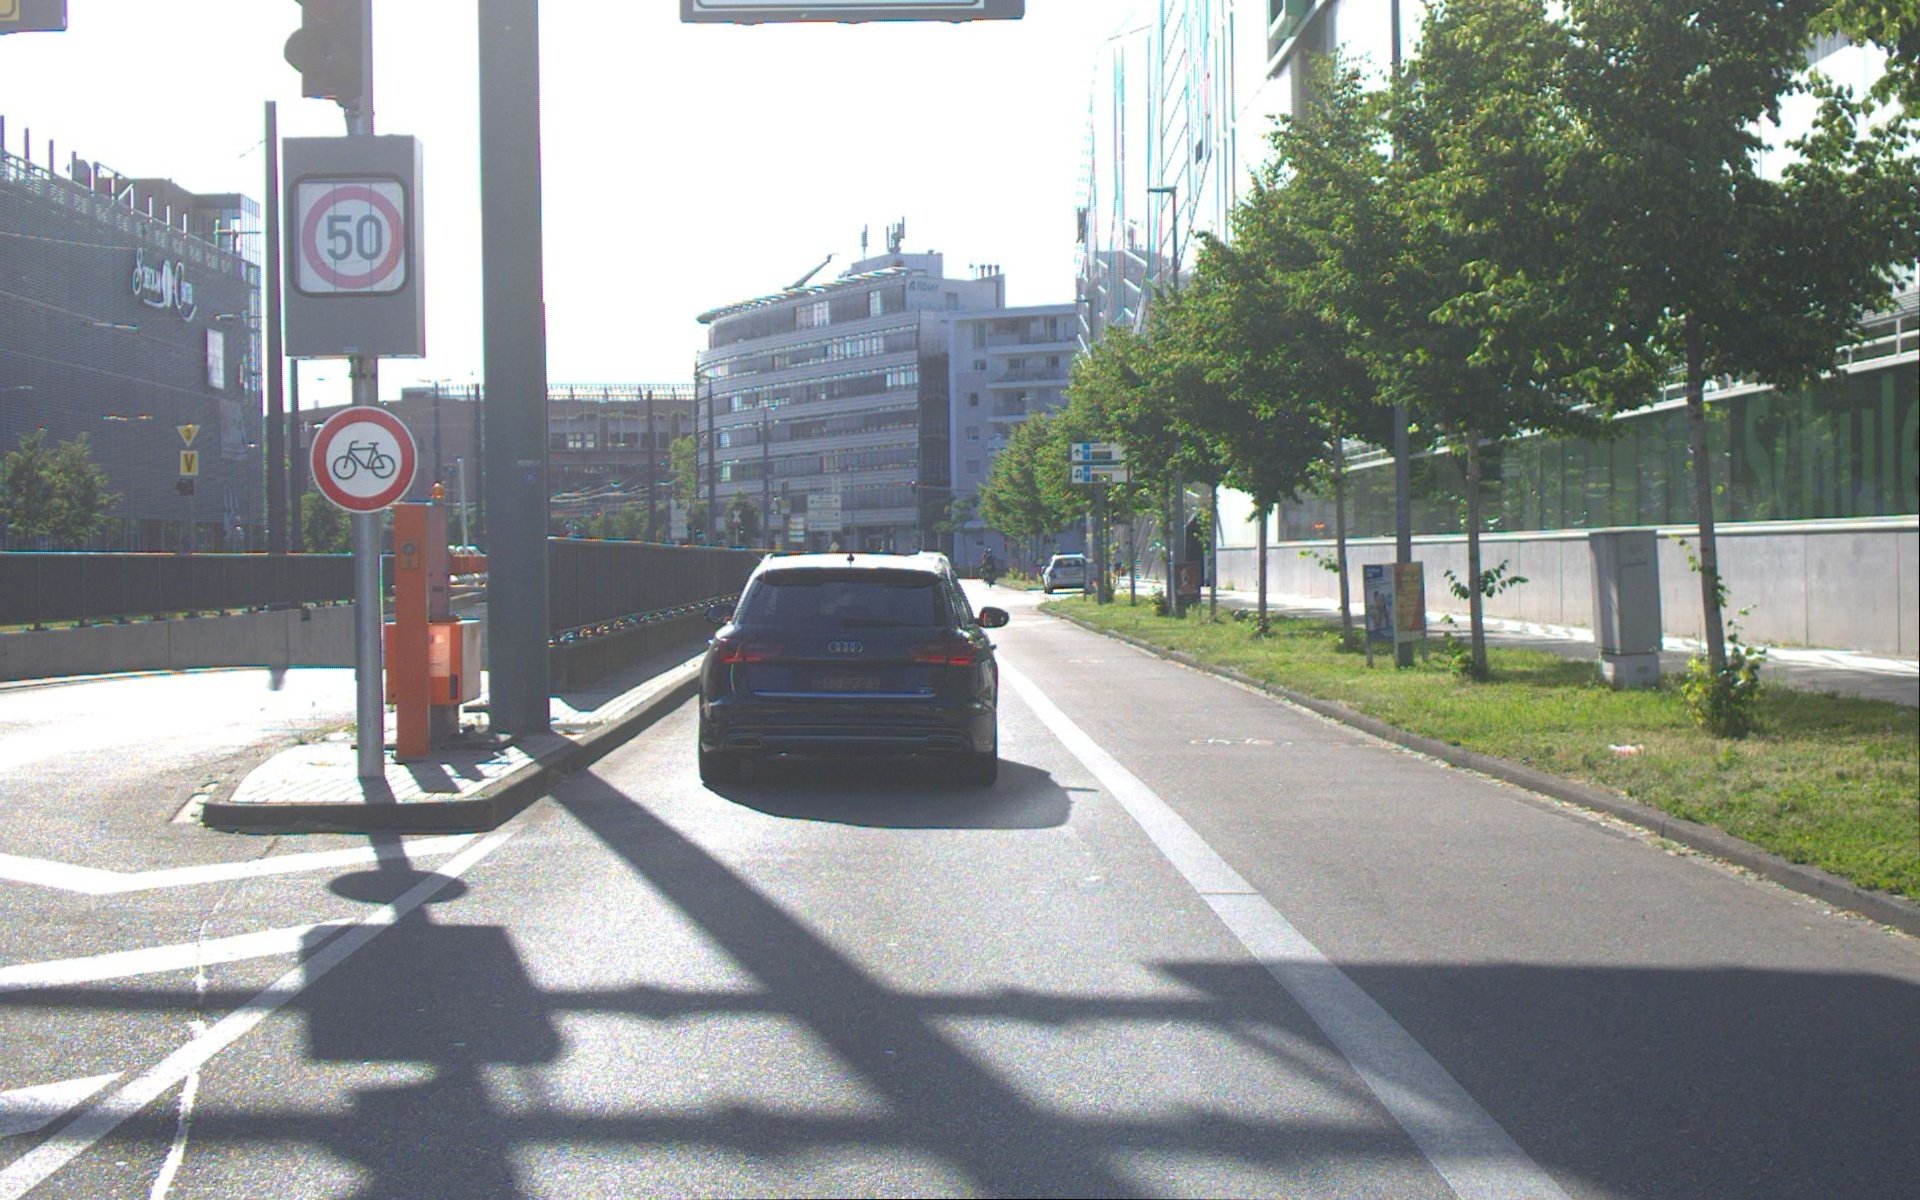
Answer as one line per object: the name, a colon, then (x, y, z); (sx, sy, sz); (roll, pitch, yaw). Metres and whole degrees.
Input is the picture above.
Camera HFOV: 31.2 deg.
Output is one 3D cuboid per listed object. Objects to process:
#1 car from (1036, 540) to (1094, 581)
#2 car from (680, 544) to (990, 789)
car: (4.007, -1.532, 131.981); (1.852, 1.476, 4.854); (-2, 1, -2)
car: (-0.748, 0.367, 22.632); (1.812, 1.422, 4.690); (-1, 1, 0)
